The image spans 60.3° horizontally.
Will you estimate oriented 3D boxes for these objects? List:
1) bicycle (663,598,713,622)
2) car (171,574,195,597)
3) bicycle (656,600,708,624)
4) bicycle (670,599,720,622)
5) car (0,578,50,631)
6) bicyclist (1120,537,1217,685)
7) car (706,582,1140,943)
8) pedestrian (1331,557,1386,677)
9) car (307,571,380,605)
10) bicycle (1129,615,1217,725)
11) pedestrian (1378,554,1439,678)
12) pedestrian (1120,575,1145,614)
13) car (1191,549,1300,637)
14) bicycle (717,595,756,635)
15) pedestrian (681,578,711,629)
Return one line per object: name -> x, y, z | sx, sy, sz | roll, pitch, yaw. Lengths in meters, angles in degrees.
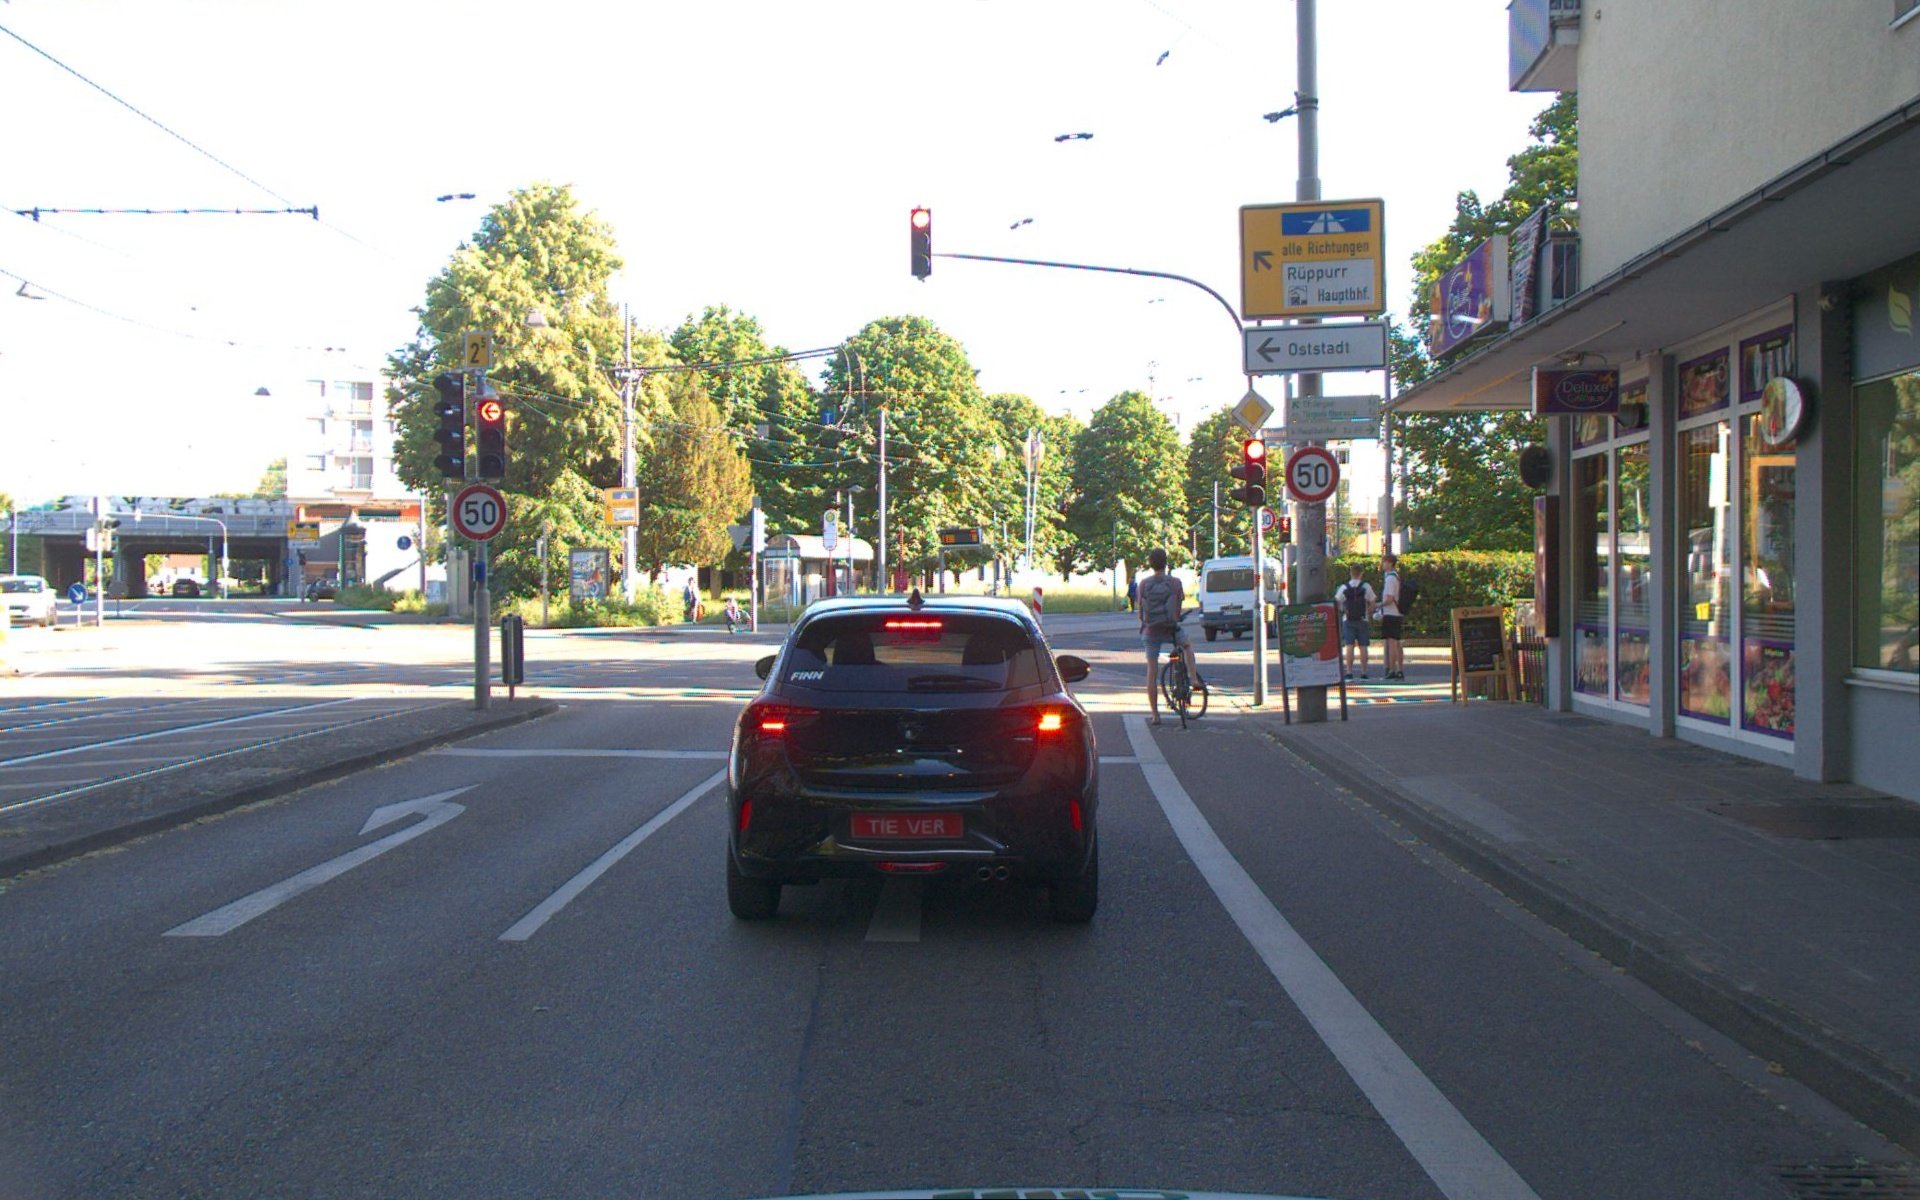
bicycle -> -10.630, 0.405, 64.685 | 1.837, 0.922, 0.660 | 0, 0, 6
car -> -73.885, -1.374, 157.254 | 1.970, 2.049, 3.965 | 1, 0, -27
bicycle -> -10.710, 0.461, 63.699 | 1.837, 0.922, 0.660 | 0, 0, 6
bicycle -> -10.497, 0.411, 65.558 | 1.837, 0.922, 0.660 | 0, 0, 6
car -> -31.476, 0.120, 55.079 | 1.971, 1.660, 4.588 | -1, 1, -28
bicyclist -> 2.233, 0.104, 17.896 | 0.823, 1.536, 1.368 | 0, 0, -3
car -> -0.126, 0.642, 8.726 | 1.763, 1.466, 3.940 | 0, 1, 1
pedestrian -> 6.165, 0.253, 25.603 | 0.684, 1.823, 0.617 | 0, 0, -1
car -> -39.416, -0.764, 105.798 | 3.902, 2.049, 2.002 | 1, 0, 13
bicycle -> 2.281, 0.725, 17.928 | 0.653, 1.078, 2.082 | 0, 1, -1
pedestrian -> 6.957, 0.239, 25.636 | 0.691, 1.878, 0.697 | 0, 0, 39
pedestrian -> 8.244, -0.274, 79.092 | 0.939, 1.824, 0.995 | 0, 0, 25
car -> 8.032, -0.174, 46.176 | 2.047, 2.317, 4.304 | 1, 0, 23
bicycle -> -6.282, 0.405, 46.560 | 0.808, 1.078, 1.883 | 0, 1, 2
pedestrian -> -8.970, 0.108, 56.151 | 0.714, 1.722, 0.698 | 0, 0, 37
